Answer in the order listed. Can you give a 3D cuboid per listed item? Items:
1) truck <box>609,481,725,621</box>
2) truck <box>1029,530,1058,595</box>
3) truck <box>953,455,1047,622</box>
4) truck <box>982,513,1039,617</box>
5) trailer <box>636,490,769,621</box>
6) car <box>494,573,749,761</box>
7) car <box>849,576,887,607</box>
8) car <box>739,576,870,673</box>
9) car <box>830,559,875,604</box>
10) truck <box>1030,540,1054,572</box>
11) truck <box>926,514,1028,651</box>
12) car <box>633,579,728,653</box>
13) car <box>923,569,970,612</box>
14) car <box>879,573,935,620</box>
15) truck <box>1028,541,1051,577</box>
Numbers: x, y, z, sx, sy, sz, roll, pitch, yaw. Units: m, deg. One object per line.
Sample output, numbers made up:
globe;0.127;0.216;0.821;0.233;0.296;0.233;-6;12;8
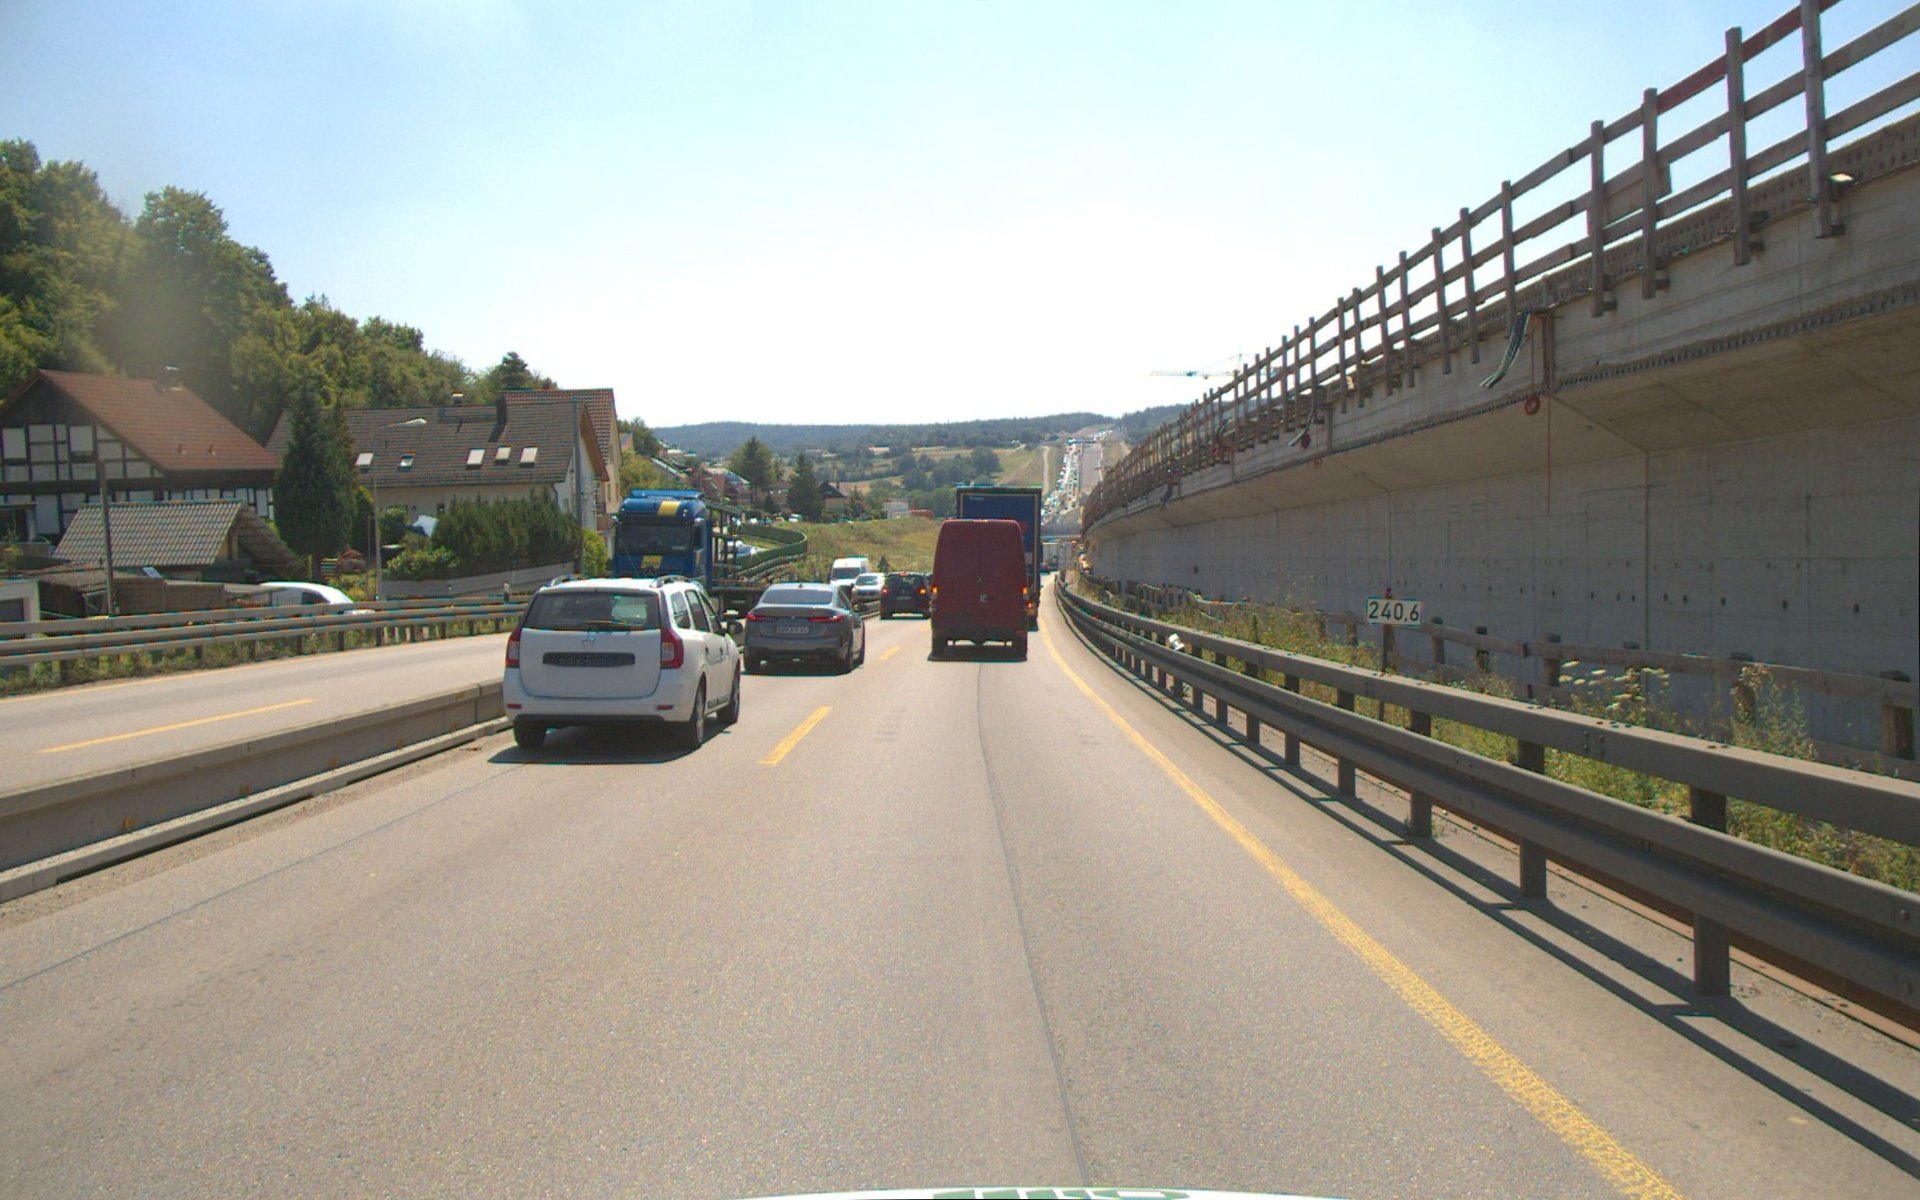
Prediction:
truck;-8.809;-1.381;50.317;2.456;4.035;5.176;0;-1;2
truck;5.914;-2.614;116.818;1.951;4.458;4.002;0;-1;4
truck;1.234;-1.733;53.458;2.729;4.900;9.685;0;-1;1
truck;2.466;-1.625;83.650;2.729;4.900;9.685;0;-1;1
trailer;-8.635;-1.361;56.869;2.456;4.034;11.401;0;0;2
car;-3.121;0.578;16.076;1.618;1.509;4.265;-2;0;-1
car;-4.519;-0.423;81.486;1.529;1.489;4.020;0;1;1
car;-2.556;0.397;27.991;1.758;1.511;4.050;-1;0;1
car;-6.448;-1.093;99.572;1.952;2.551;5.518;0;-1;4
truck;12.225;-6.531;247.114;3.394;4.458;8.560;0;-1;4
truck;0.329;-0.305;33.602;1.953;2.624;4.000;0;-1;0
car;-6.084;0.304;36.393;1.513;1.489;4.626;2;1;-3
car;-0.556;-0.416;73.352;1.693;1.870;4.002;0;0;5
car;-1.885;-0.105;59.537;1.772;1.636;3.719;0;-1;2
truck;10.886;-5.558;226.086;3.004;4.458;8.560;0;-1;4
